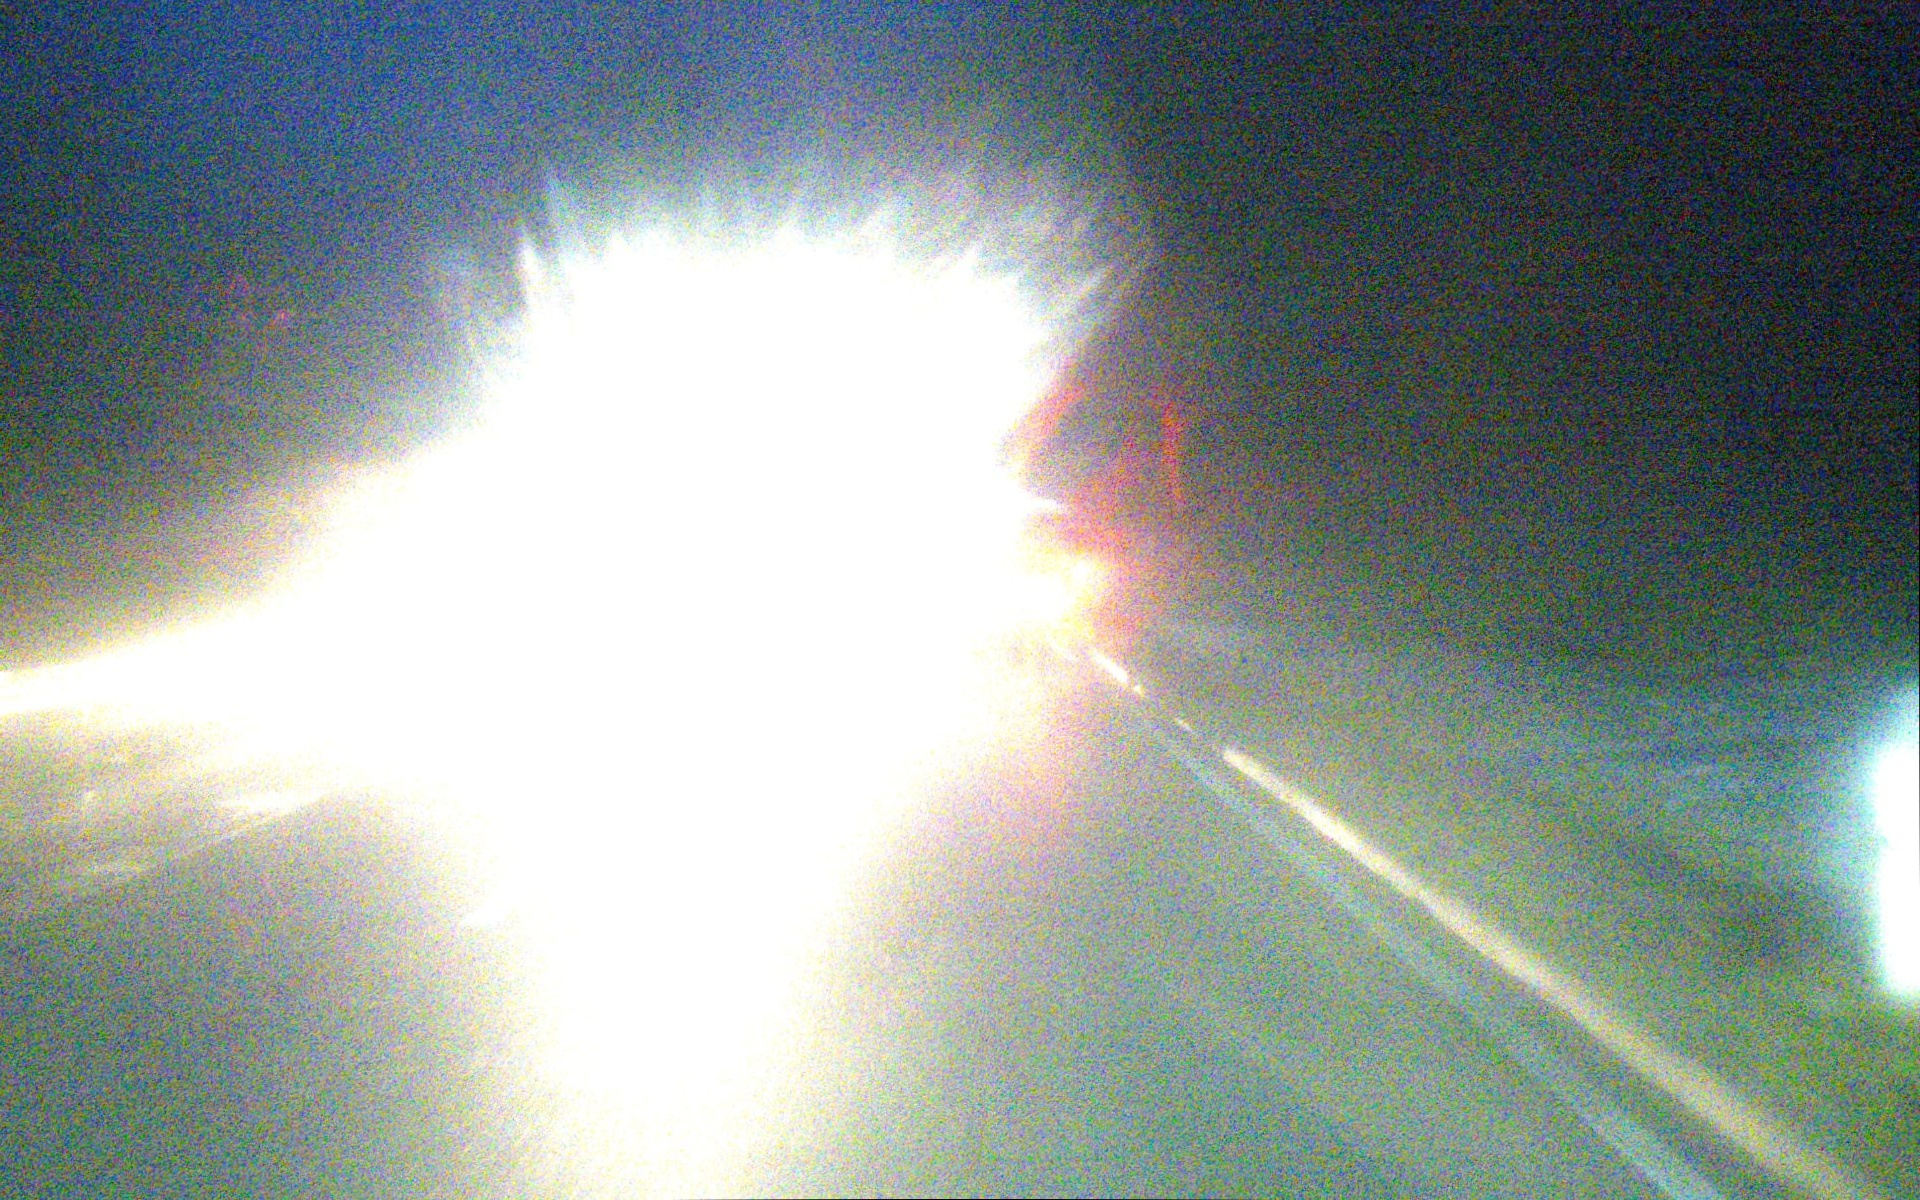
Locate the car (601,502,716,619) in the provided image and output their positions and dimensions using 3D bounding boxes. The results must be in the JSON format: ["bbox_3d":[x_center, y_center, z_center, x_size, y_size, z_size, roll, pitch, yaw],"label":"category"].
[{"bbox_3d":[-4.557,-0.635,52.070,1.634,1.575,3.745,-1,3,-5],"label":"car"}]

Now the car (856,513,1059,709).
[{"bbox_3d":[-0.054,0.065,36.230,1.993,1.800,3.918,-1,3,-1],"label":"car"}]

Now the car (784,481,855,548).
[{"bbox_3d":[-4.285,-2.650,105.464,1.993,1.775,4.001,-5,3,-1],"label":"car"}]
